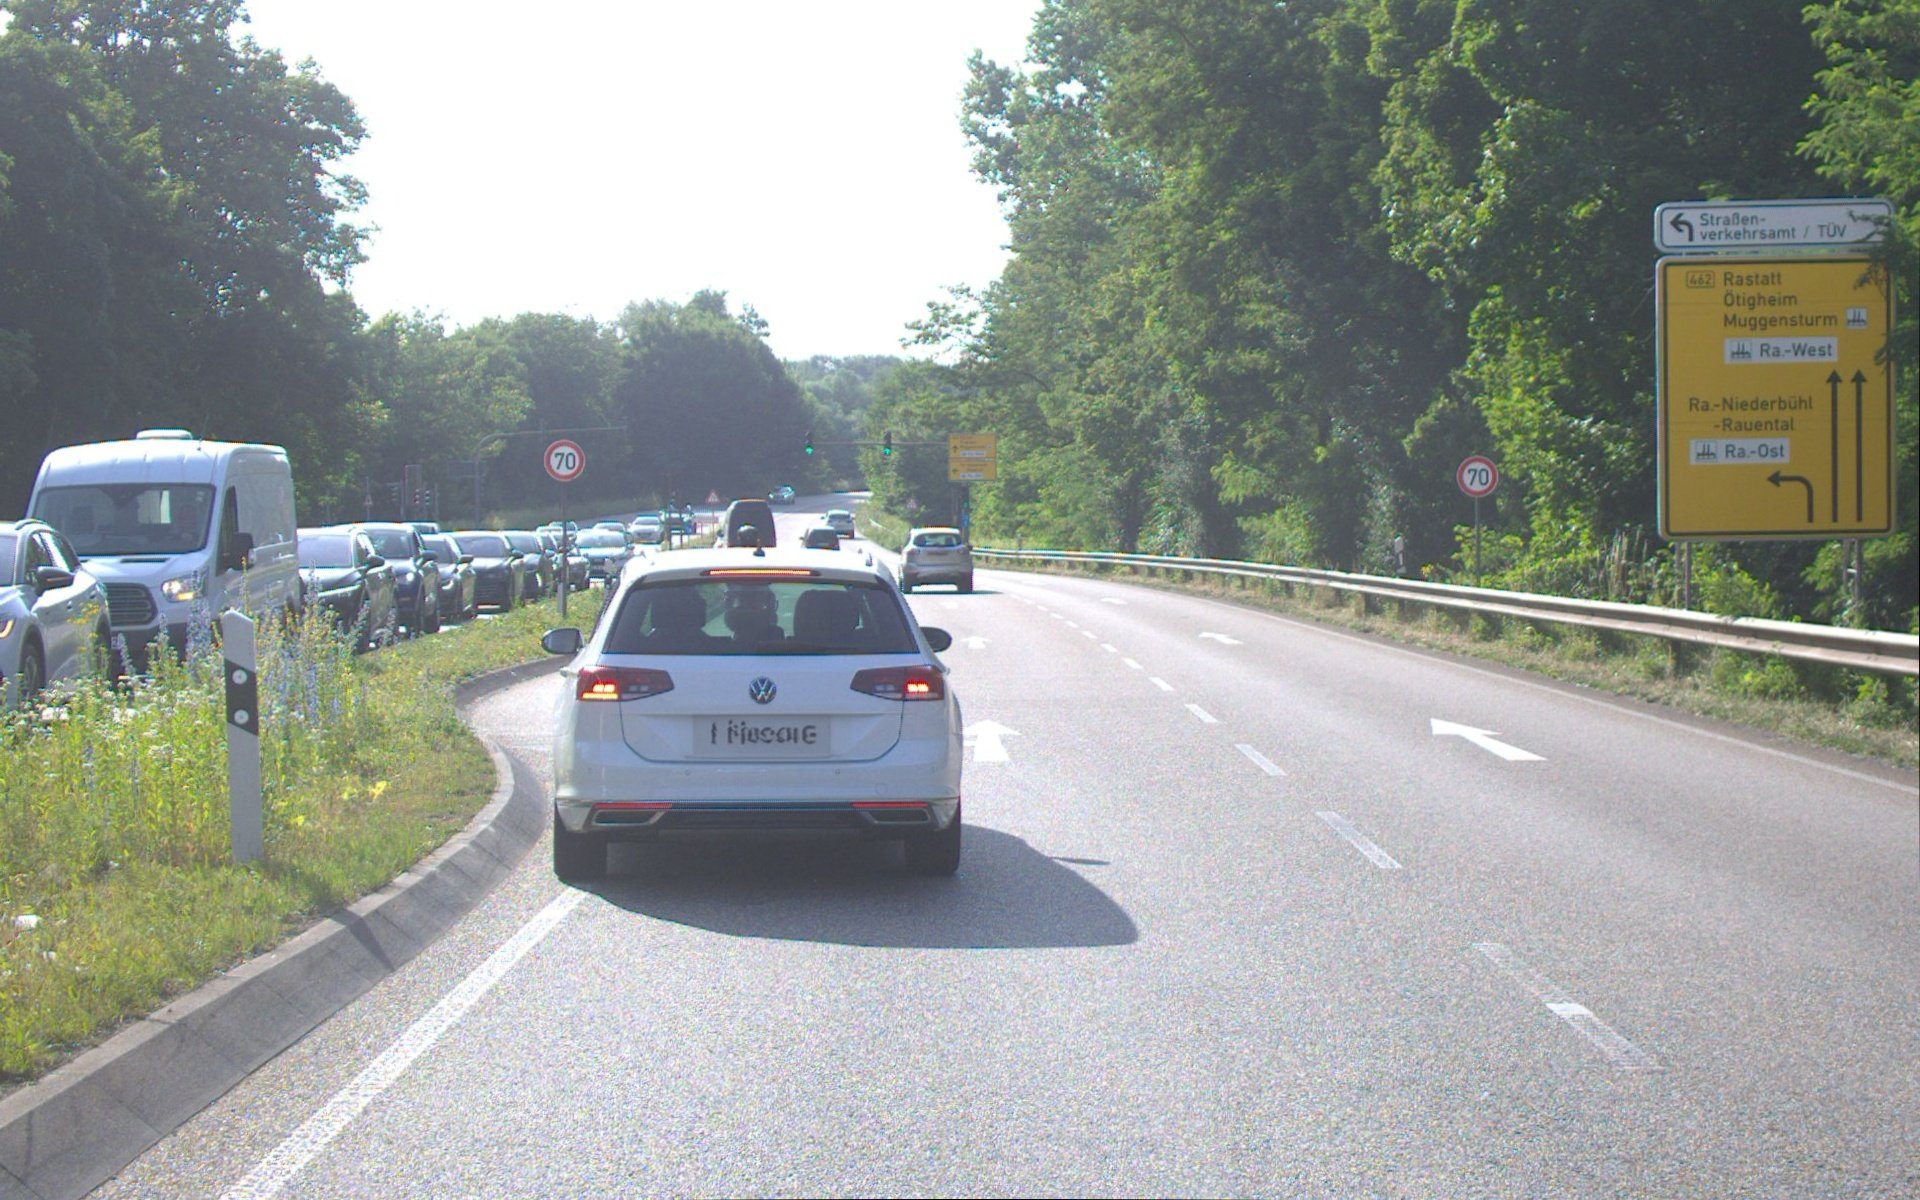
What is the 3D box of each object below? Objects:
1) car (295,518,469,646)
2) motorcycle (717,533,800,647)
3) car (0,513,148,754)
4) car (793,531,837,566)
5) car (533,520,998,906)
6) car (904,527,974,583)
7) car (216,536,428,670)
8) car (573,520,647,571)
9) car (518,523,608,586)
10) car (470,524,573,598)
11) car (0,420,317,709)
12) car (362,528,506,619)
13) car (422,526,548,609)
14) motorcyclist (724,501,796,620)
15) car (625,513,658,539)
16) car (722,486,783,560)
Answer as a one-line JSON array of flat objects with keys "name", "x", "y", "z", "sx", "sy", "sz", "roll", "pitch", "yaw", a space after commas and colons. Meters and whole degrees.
[{"name": "car", "x": -8.160, "y": -0.302, "z": 48.905, "sx": 1.771, "sy": 1.663, "sz": 4.801, "roll": -1, "pitch": 2, "yaw": -2}, {"name": "motorcycle", "x": -2.768, "y": -0.163, "z": 47.493, "sx": 0.909, "sy": 1.448, "sz": 2.689, "roll": -3, "pitch": 2, "yaw": 0}, {"name": "car", "x": -7.408, "y": 0.189, "z": 25.862, "sx": 1.700, "sy": 1.626, "sz": 4.748, "roll": -1, "pitch": 2, "yaw": -3}, {"name": "car", "x": -6.727, "y": -2.383, "z": 158.894, "sx": 1.744, "sy": 1.532, "sz": 3.927, "roll": 1, "pitch": 2, "yaw": -6}, {"name": "car", "x": -0.936, "y": 0.410, "z": 16.524, "sx": 1.870, "sy": 1.516, "sz": 4.835, "roll": 1, "pitch": 2, "yaw": -3}, {"name": "car", "x": -0.561, "y": -1.200, "z": 90.164, "sx": 1.761, "sy": 1.375, "sz": 3.972, "roll": 1, "pitch": 2, "yaw": -1}, {"name": "car", "x": -7.737, "y": -0.018, "z": 42.119, "sx": 1.760, "sy": 1.451, "sz": 5.186, "roll": -1, "pitch": 2, "yaw": -2}, {"name": "car", "x": -10.332, "y": -1.618, "z": 101.779, "sx": 1.867, "sy": 1.412, "sz": 4.416, "roll": -1, "pitch": 2, "yaw": -2}, {"name": "car", "x": -9.566, "y": -1.108, "z": 83.091, "sx": 1.767, "sy": 1.412, "sz": 4.435, "roll": -1, "pitch": 2, "yaw": -2}, {"name": "car", "x": -9.049, "y": -0.831, "z": 71.185, "sx": 1.707, "sy": 1.418, "sz": 4.212, "roll": -1, "pitch": 2, "yaw": -2}, {"name": "car", "x": -7.823, "y": -0.400, "z": 33.555, "sx": 2.075, "sy": 2.525, "sz": 6.165, "roll": -1, "pitch": 2, "yaw": -2}, {"name": "car", "x": -8.652, "y": -0.470, "z": 56.910, "sx": 1.771, "sy": 1.375, "sz": 4.844, "roll": -1, "pitch": 2, "yaw": -2}, {"name": "car", "x": -8.829, "y": -0.636, "z": 64.189, "sx": 1.771, "sy": 1.418, "sz": 5.193, "roll": -1, "pitch": 2, "yaw": -2}, {"name": "motorcyclist", "x": -2.761, "y": -0.558, "z": 47.555, "sx": 0.883, "sy": 1.610, "sz": 1.290, "roll": 1, "pitch": 1, "yaw": 0}, {"name": "car", "x": -17.827, "y": -4.141, "z": 192.738, "sx": 1.788, "sy": 1.406, "sz": 4.228, "roll": 1, "pitch": 2, "yaw": -5}, {"name": "car", "x": -8.333, "y": -3.128, "z": 138.698, "sx": 2.209, "sy": 2.878, "sz": 7.012, "roll": -1, "pitch": 2, "yaw": -2}]
